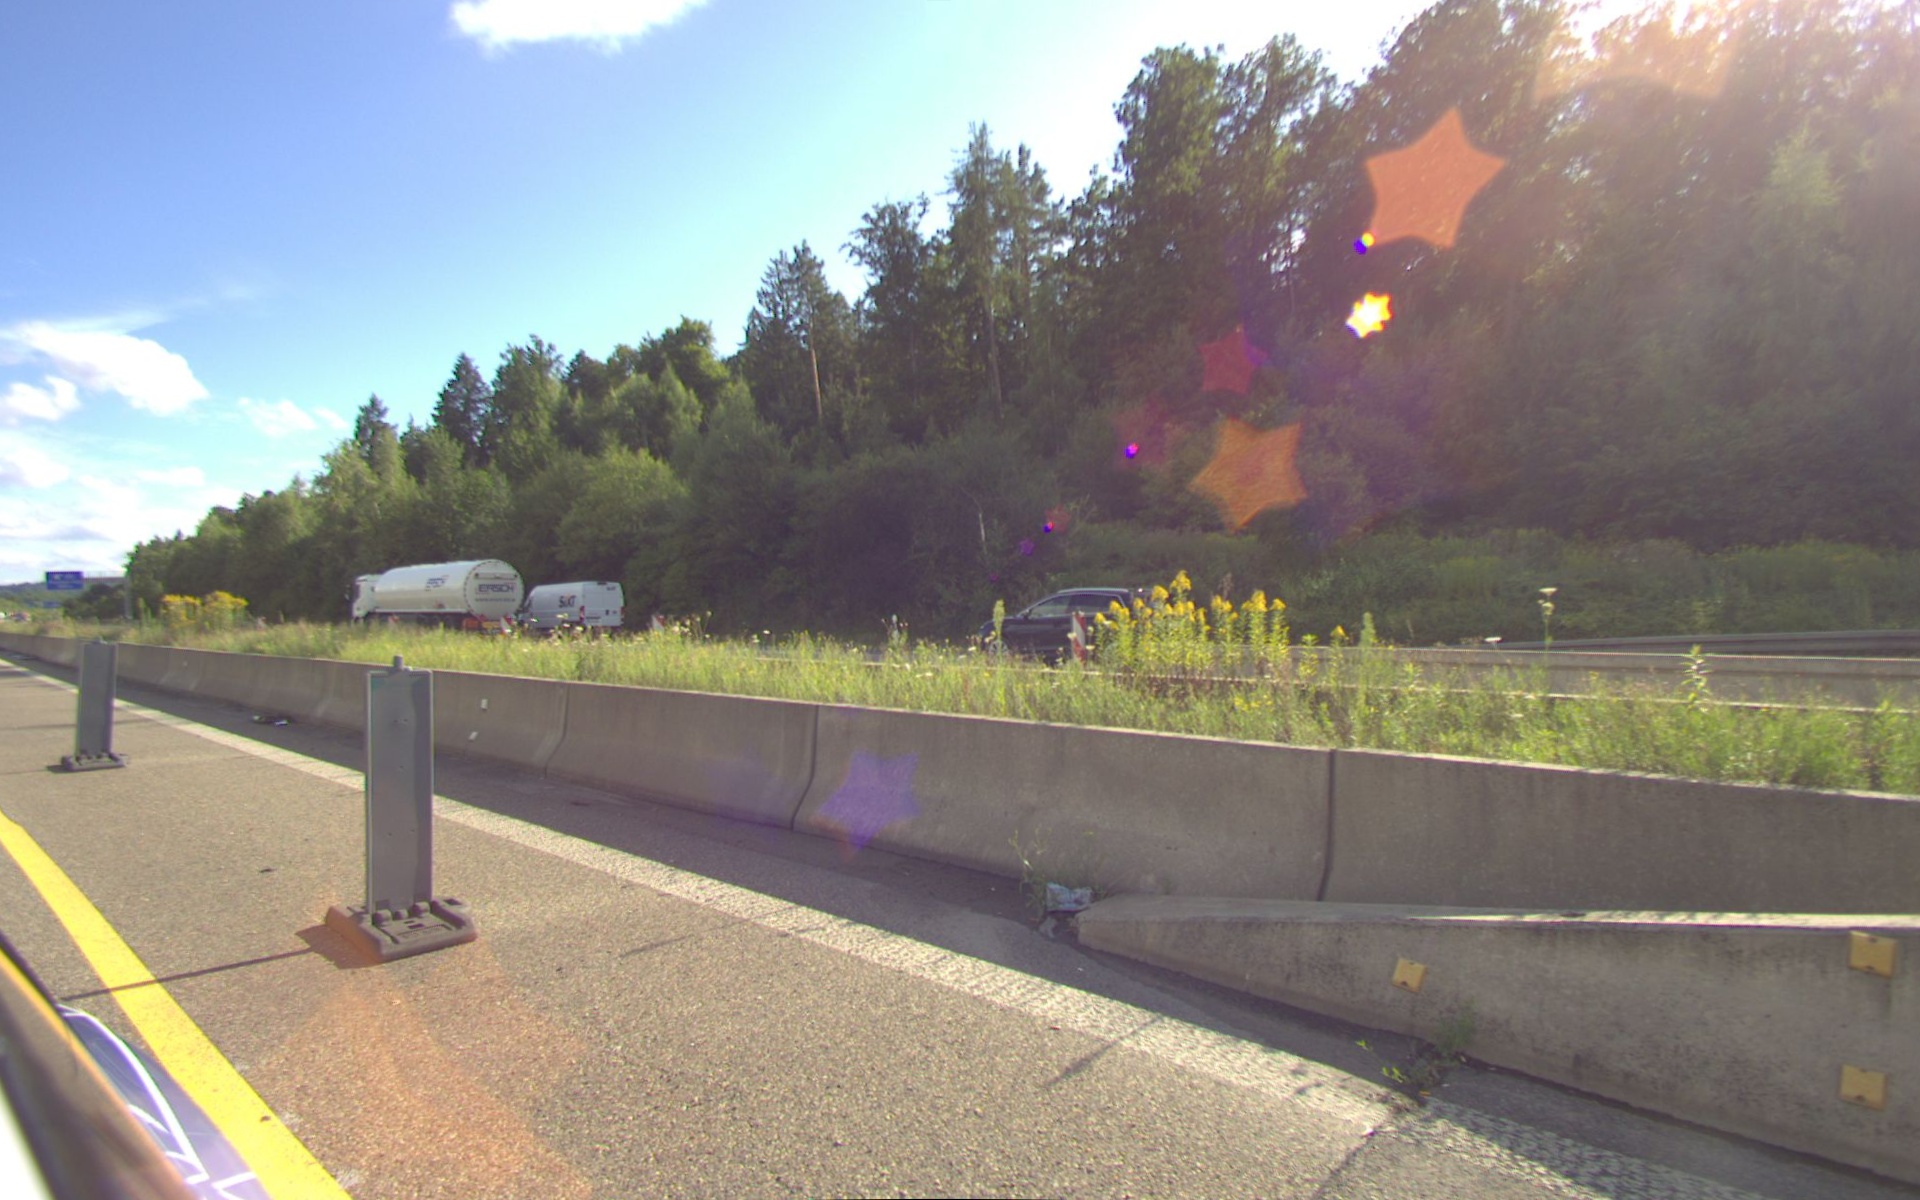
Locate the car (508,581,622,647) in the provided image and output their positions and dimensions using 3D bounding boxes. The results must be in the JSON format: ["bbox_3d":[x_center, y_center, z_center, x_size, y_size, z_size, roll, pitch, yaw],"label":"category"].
[{"bbox_3d":[-17.329,0.588,44.221,6.523,2.705,2.006,-1,0,43],"label":"car"}]

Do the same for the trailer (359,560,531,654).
[{"bbox_3d":[-21.889,0.315,42.541,11.112,3.516,2.771,-1,0,43],"label":"trailer"}]

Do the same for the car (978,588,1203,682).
[{"bbox_3d":[2.428,0.619,19.479,4.018,1.614,1.758,-1,0,43],"label":"car"}]

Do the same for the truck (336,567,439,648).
[{"bbox_3d":[-26.514,0.332,46.821,4.939,3.516,2.754,-1,0,43],"label":"truck"}]
